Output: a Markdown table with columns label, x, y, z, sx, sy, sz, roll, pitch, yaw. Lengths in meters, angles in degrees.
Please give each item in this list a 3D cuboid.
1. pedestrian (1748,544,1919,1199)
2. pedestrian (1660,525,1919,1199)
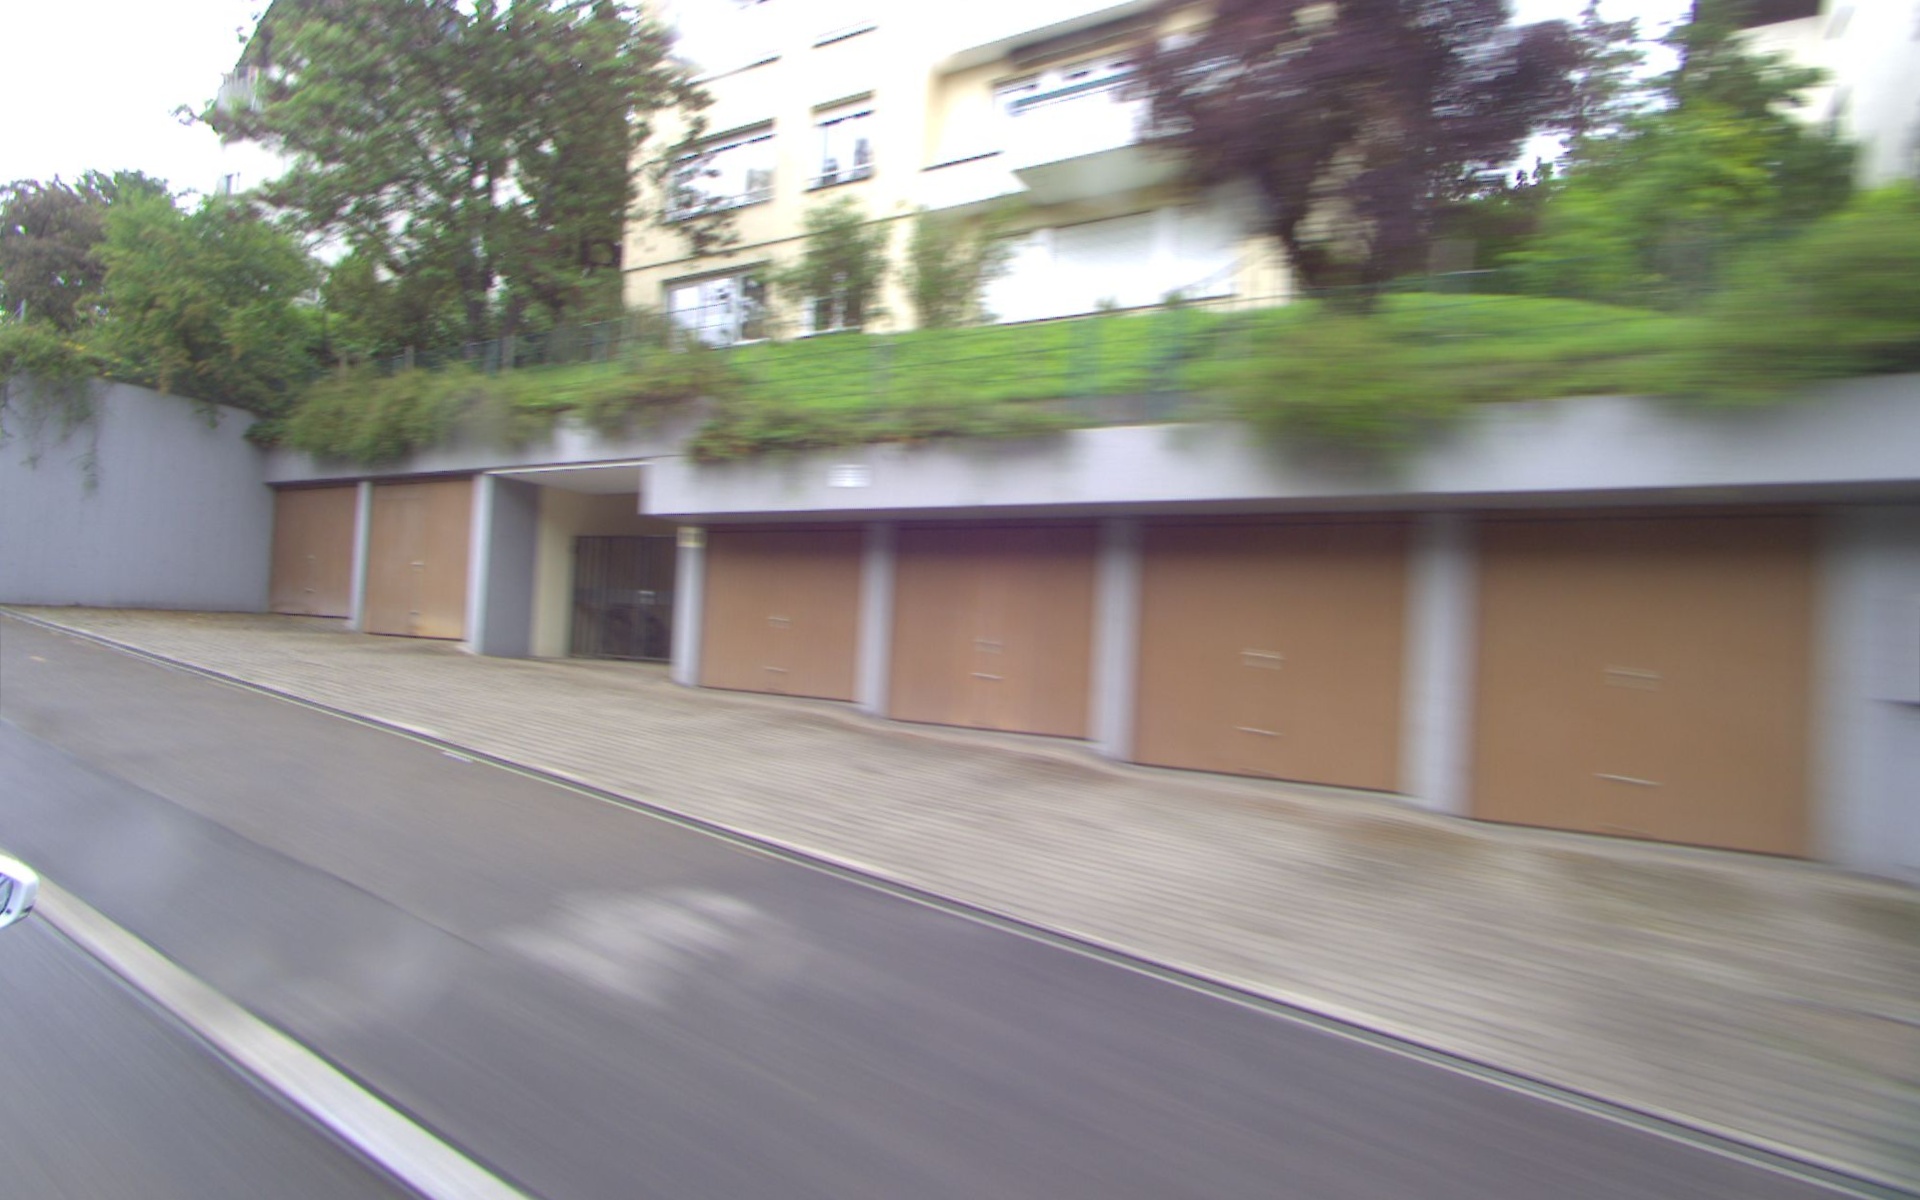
| label | x | y | z | sx | sy | sz | roll | pitch | yaw |
| --- | --- | --- | --- | --- | --- | --- | --- | --- | --- |
| pedestrian | 2.089 | 0.843 | 1.695 | 0.994 | 1.781 | 0.776 | 5 | 1 | 29 |
| pedestrian | 2.446 | 0.840 | 2.202 | 1.230 | 1.856 | 0.776 | 7 | 3 | 29 |
